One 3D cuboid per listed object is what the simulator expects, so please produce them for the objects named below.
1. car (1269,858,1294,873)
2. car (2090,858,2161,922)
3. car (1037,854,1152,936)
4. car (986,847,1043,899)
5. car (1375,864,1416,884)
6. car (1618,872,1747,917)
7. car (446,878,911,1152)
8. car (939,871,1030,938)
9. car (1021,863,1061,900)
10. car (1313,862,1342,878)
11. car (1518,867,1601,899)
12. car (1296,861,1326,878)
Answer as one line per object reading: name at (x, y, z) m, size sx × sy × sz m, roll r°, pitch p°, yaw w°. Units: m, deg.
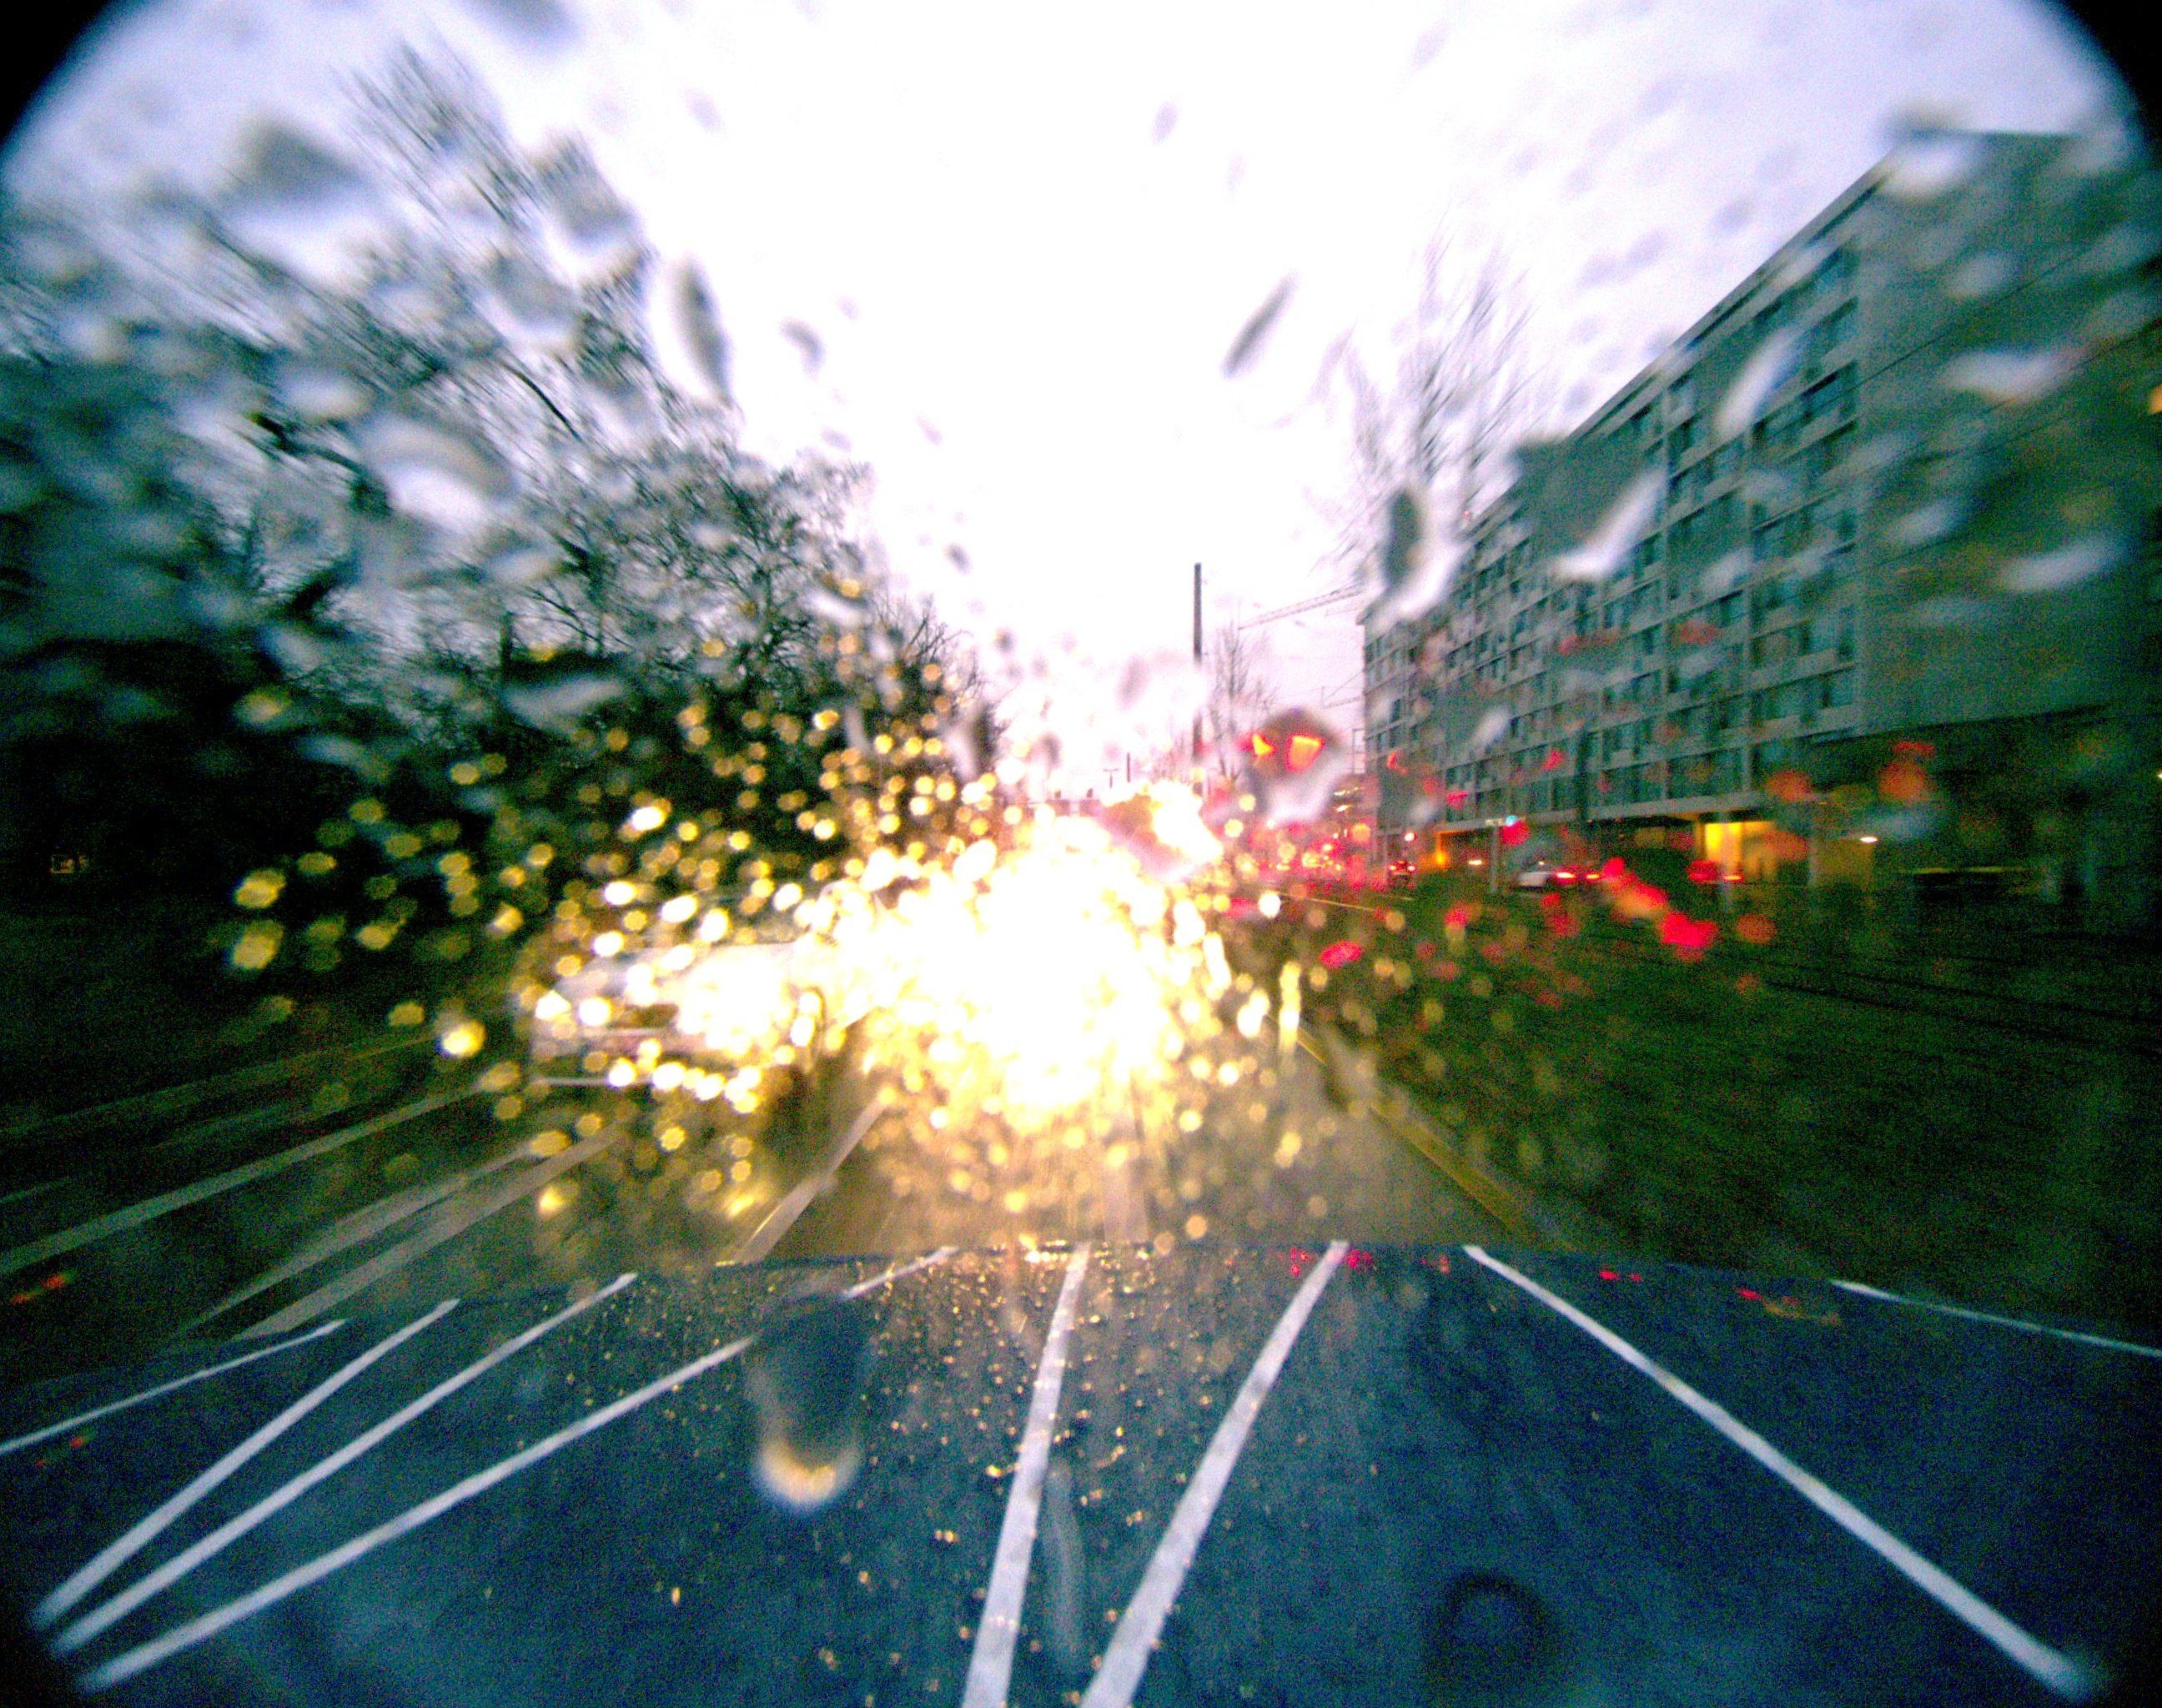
car at (21.265, 1.211, 80.539) m, size 1.596 × 1.440 × 3.873 m, roll -1°, pitch 0°, yaw 0°
car at (29.516, 0.938, 20.907) m, size 3.785 × 1.608 × 1.676 m, roll -1°, pitch 1°, yaw -43°
car at (0.286, 0.772, 16.340) m, size 2.160 × 1.489 × 4.007 m, roll -1°, pitch 1°, yaw 1°
car at (-2.358, 0.646, 27.827) m, size 1.678 × 1.739 × 3.865 m, roll -1°, pitch 0°, yaw 1°
car at (24.370, 1.524, 58.953) m, size 1.596 × 1.440 × 3.873 m, roll -1°, pitch 0°, yaw 0°
car at (22.493, 1.463, 28.616) m, size 1.754 × 1.440 × 3.873 m, roll -1°, pitch 0°, yaw 0°
car at (-2.843, 1.026, 6.540) m, size 1.778 × 1.453 × 4.040 m, roll -1°, pitch 1°, yaw 1°
car at (-2.500, 1.284, 20.683) m, size 1.880 × 1.489 × 4.077 m, roll -1°, pitch 1°, yaw 1°
car at (-1.942, 1.302, 37.443) m, size 1.678 × 1.670 × 3.865 m, roll -1°, pitch 0°, yaw 1°
car at (24.481, 1.543, 75.592) m, size 1.596 × 1.440 × 3.873 m, roll -1°, pitch 0°, yaw 0°
car at (24.055, 1.422, 38.389) m, size 1.754 × 1.440 × 3.873 m, roll -1°, pitch 0°, yaw 0°
car at (21.485, 1.434, 71.087) m, size 1.596 × 1.440 × 3.873 m, roll -1°, pitch 0°, yaw 0°
